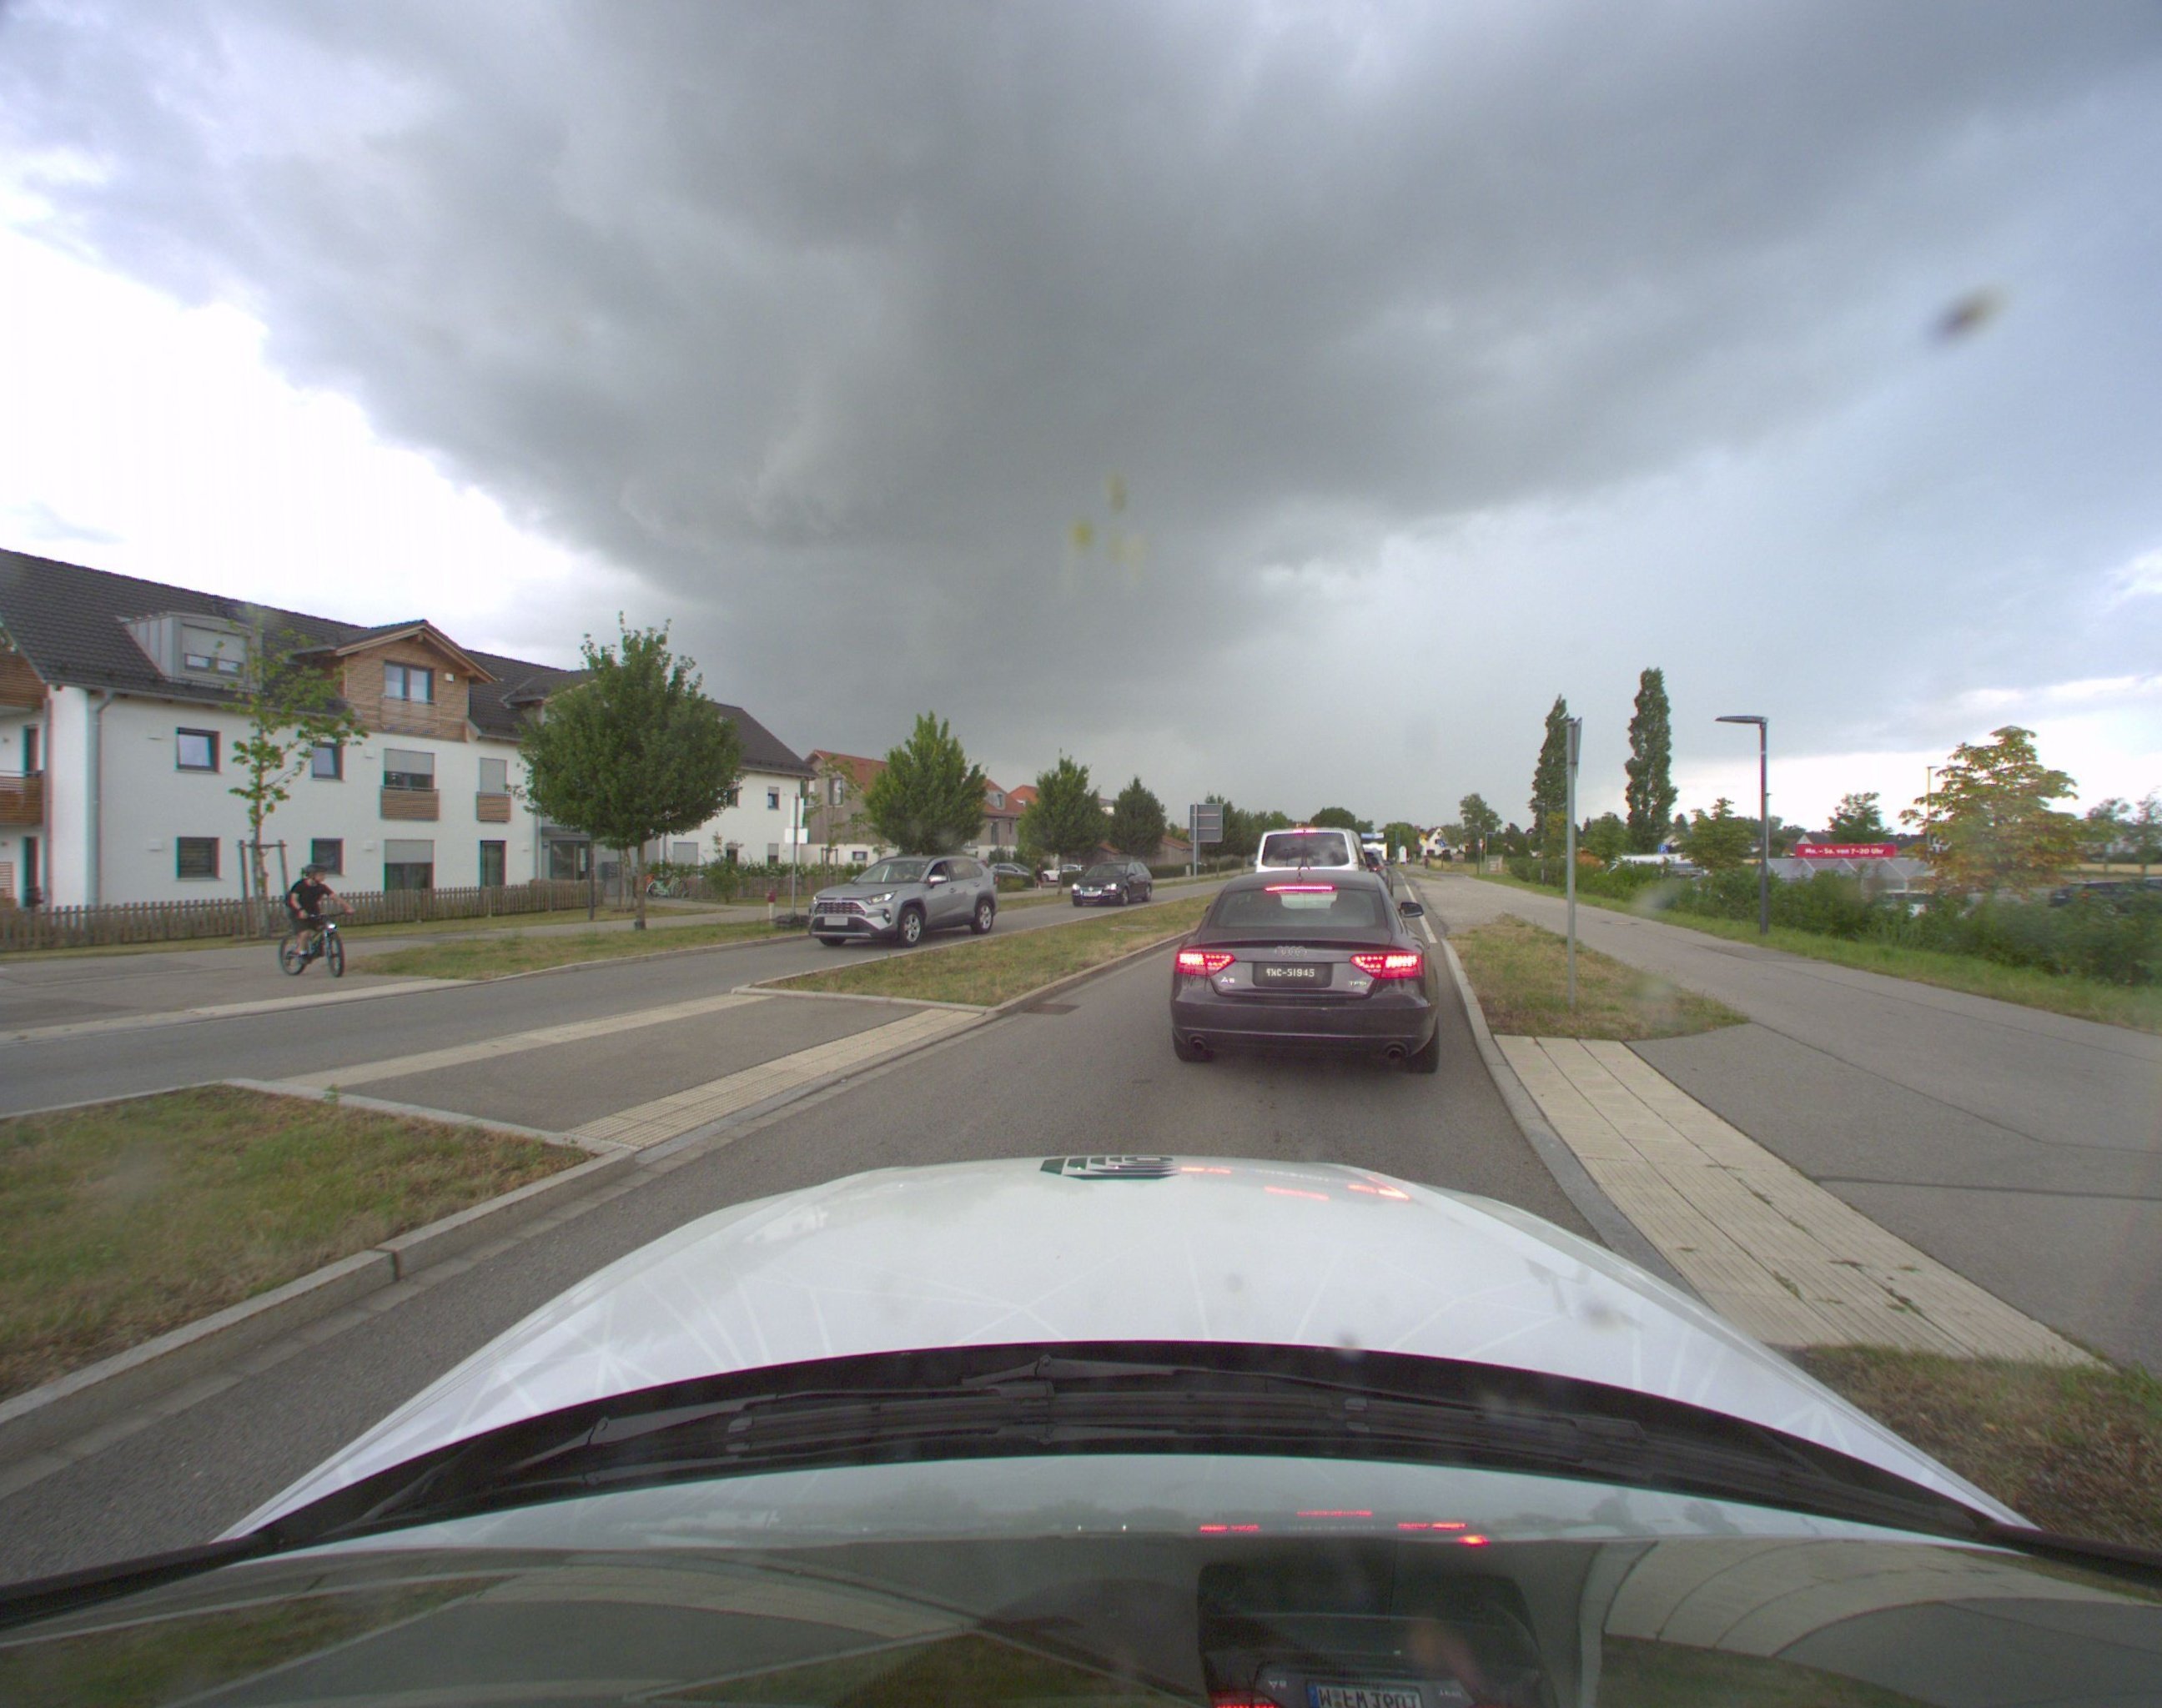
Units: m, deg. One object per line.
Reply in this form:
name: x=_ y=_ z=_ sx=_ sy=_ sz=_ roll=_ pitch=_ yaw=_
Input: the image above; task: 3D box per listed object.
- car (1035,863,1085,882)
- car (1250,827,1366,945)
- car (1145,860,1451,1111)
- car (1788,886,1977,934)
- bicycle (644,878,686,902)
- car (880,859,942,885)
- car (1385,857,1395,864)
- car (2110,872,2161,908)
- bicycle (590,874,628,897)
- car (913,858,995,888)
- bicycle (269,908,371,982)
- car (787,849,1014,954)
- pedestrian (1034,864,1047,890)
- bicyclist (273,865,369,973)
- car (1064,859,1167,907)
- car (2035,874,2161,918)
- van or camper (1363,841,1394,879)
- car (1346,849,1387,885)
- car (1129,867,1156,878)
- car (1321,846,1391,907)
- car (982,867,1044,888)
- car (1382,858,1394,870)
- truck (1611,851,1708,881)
car: x=-1.672 y=1.482 z=66.069 sx=3.700 sy=1.482 sz=1.694 roll=0 pitch=0 yaw=18
car: x=4.405 y=0.507 z=15.506 sx=1.852 sy=1.934 sz=4.019 roll=1 pitch=0 yaw=18
car: x=1.918 y=0.771 z=6.862 sx=1.769 sy=1.391 sz=4.152 roll=-1 pitch=0 yaw=19
car: x=27.520 y=1.884 z=28.157 sx=4.197 sy=1.440 sz=2.010 roll=0 pitch=0 yaw=21
bicycle: x=-16.162 y=1.381 z=31.654 sx=0.364 sy=0.843 sz=1.555 roll=3 pitch=1 yaw=23
car: x=-12.147 y=1.251 z=58.486 sx=1.975 sy=1.772 sz=4.491 roll=0 pitch=-1 yaw=26
car: x=57.406 y=1.211 z=151.286 sx=1.599 sy=1.272 sz=3.479 roll=0 pitch=0 yaw=22
car: x=50.200 y=1.621 z=36.791 sx=4.275 sy=1.578 sz=1.777 roll=0 pitch=0 yaw=23
bicycle: x=-18.820 y=1.248 z=32.475 sx=0.364 sy=0.843 sz=1.345 roll=3 pitch=1 yaw=23
car: x=-7.631 y=1.120 z=48.986 sx=4.490 sy=1.680 sz=2.011 roll=0 pitch=0 yaw=24
bicycle: x=-10.803 y=1.264 z=11.544 sx=1.692 sy=0.946 sz=0.500 roll=-2 pitch=-1 yaw=27
car: x=-3.242 y=0.800 z=15.786 sx=1.976 sy=1.704 sz=4.659 roll=-1 pitch=-1 yaw=22
pedestrian: x=-2.413 y=1.354 z=48.808 sx=0.584 sy=1.559 sz=0.655 roll=0 pitch=0 yaw=-24
bicyclist: x=-10.806 y=0.894 z=11.585 sx=0.858 sy=1.446 sz=0.729 roll=-1 pitch=-1 yaw=27
car: x=1.257 y=0.920 z=27.263 sx=1.737 sy=1.416 sz=4.482 roll=-2 pitch=-1 yaw=26
car: x=42.445 y=1.684 z=32.995 sx=4.518 sy=1.664 sz=2.010 roll=0 pitch=0 yaw=21
van or camper: x=27.663 y=0.603 z=75.682 sx=2.603 sy=3.324 sz=6.855 roll=0 pitch=-1 yaw=20
car: x=13.705 y=0.617 z=38.977 sx=1.761 sy=1.618 sz=4.020 roll=-1 pitch=-1 yaw=21
car: x=6.056 y=1.855 z=79.967 sx=2.453 sy=1.028 sz=1.190 roll=0 pitch=0 yaw=15
car: x=8.095 y=0.585 z=23.775 sx=1.761 sy=1.618 sz=4.021 roll=0 pitch=0 yaw=21
car: x=-4.756 y=1.621 z=56.886 sx=3.883 sy=1.315 sz=1.851 roll=0 pitch=0 yaw=18
car: x=42.747 y=1.336 z=113.345 sx=1.599 sy=1.631 sz=3.635 roll=0 pitch=0 yaw=22
truck: x=37.597 y=0.776 z=53.082 sx=4.759 sy=1.872 sz=2.009 roll=1 pitch=0 yaw=16
